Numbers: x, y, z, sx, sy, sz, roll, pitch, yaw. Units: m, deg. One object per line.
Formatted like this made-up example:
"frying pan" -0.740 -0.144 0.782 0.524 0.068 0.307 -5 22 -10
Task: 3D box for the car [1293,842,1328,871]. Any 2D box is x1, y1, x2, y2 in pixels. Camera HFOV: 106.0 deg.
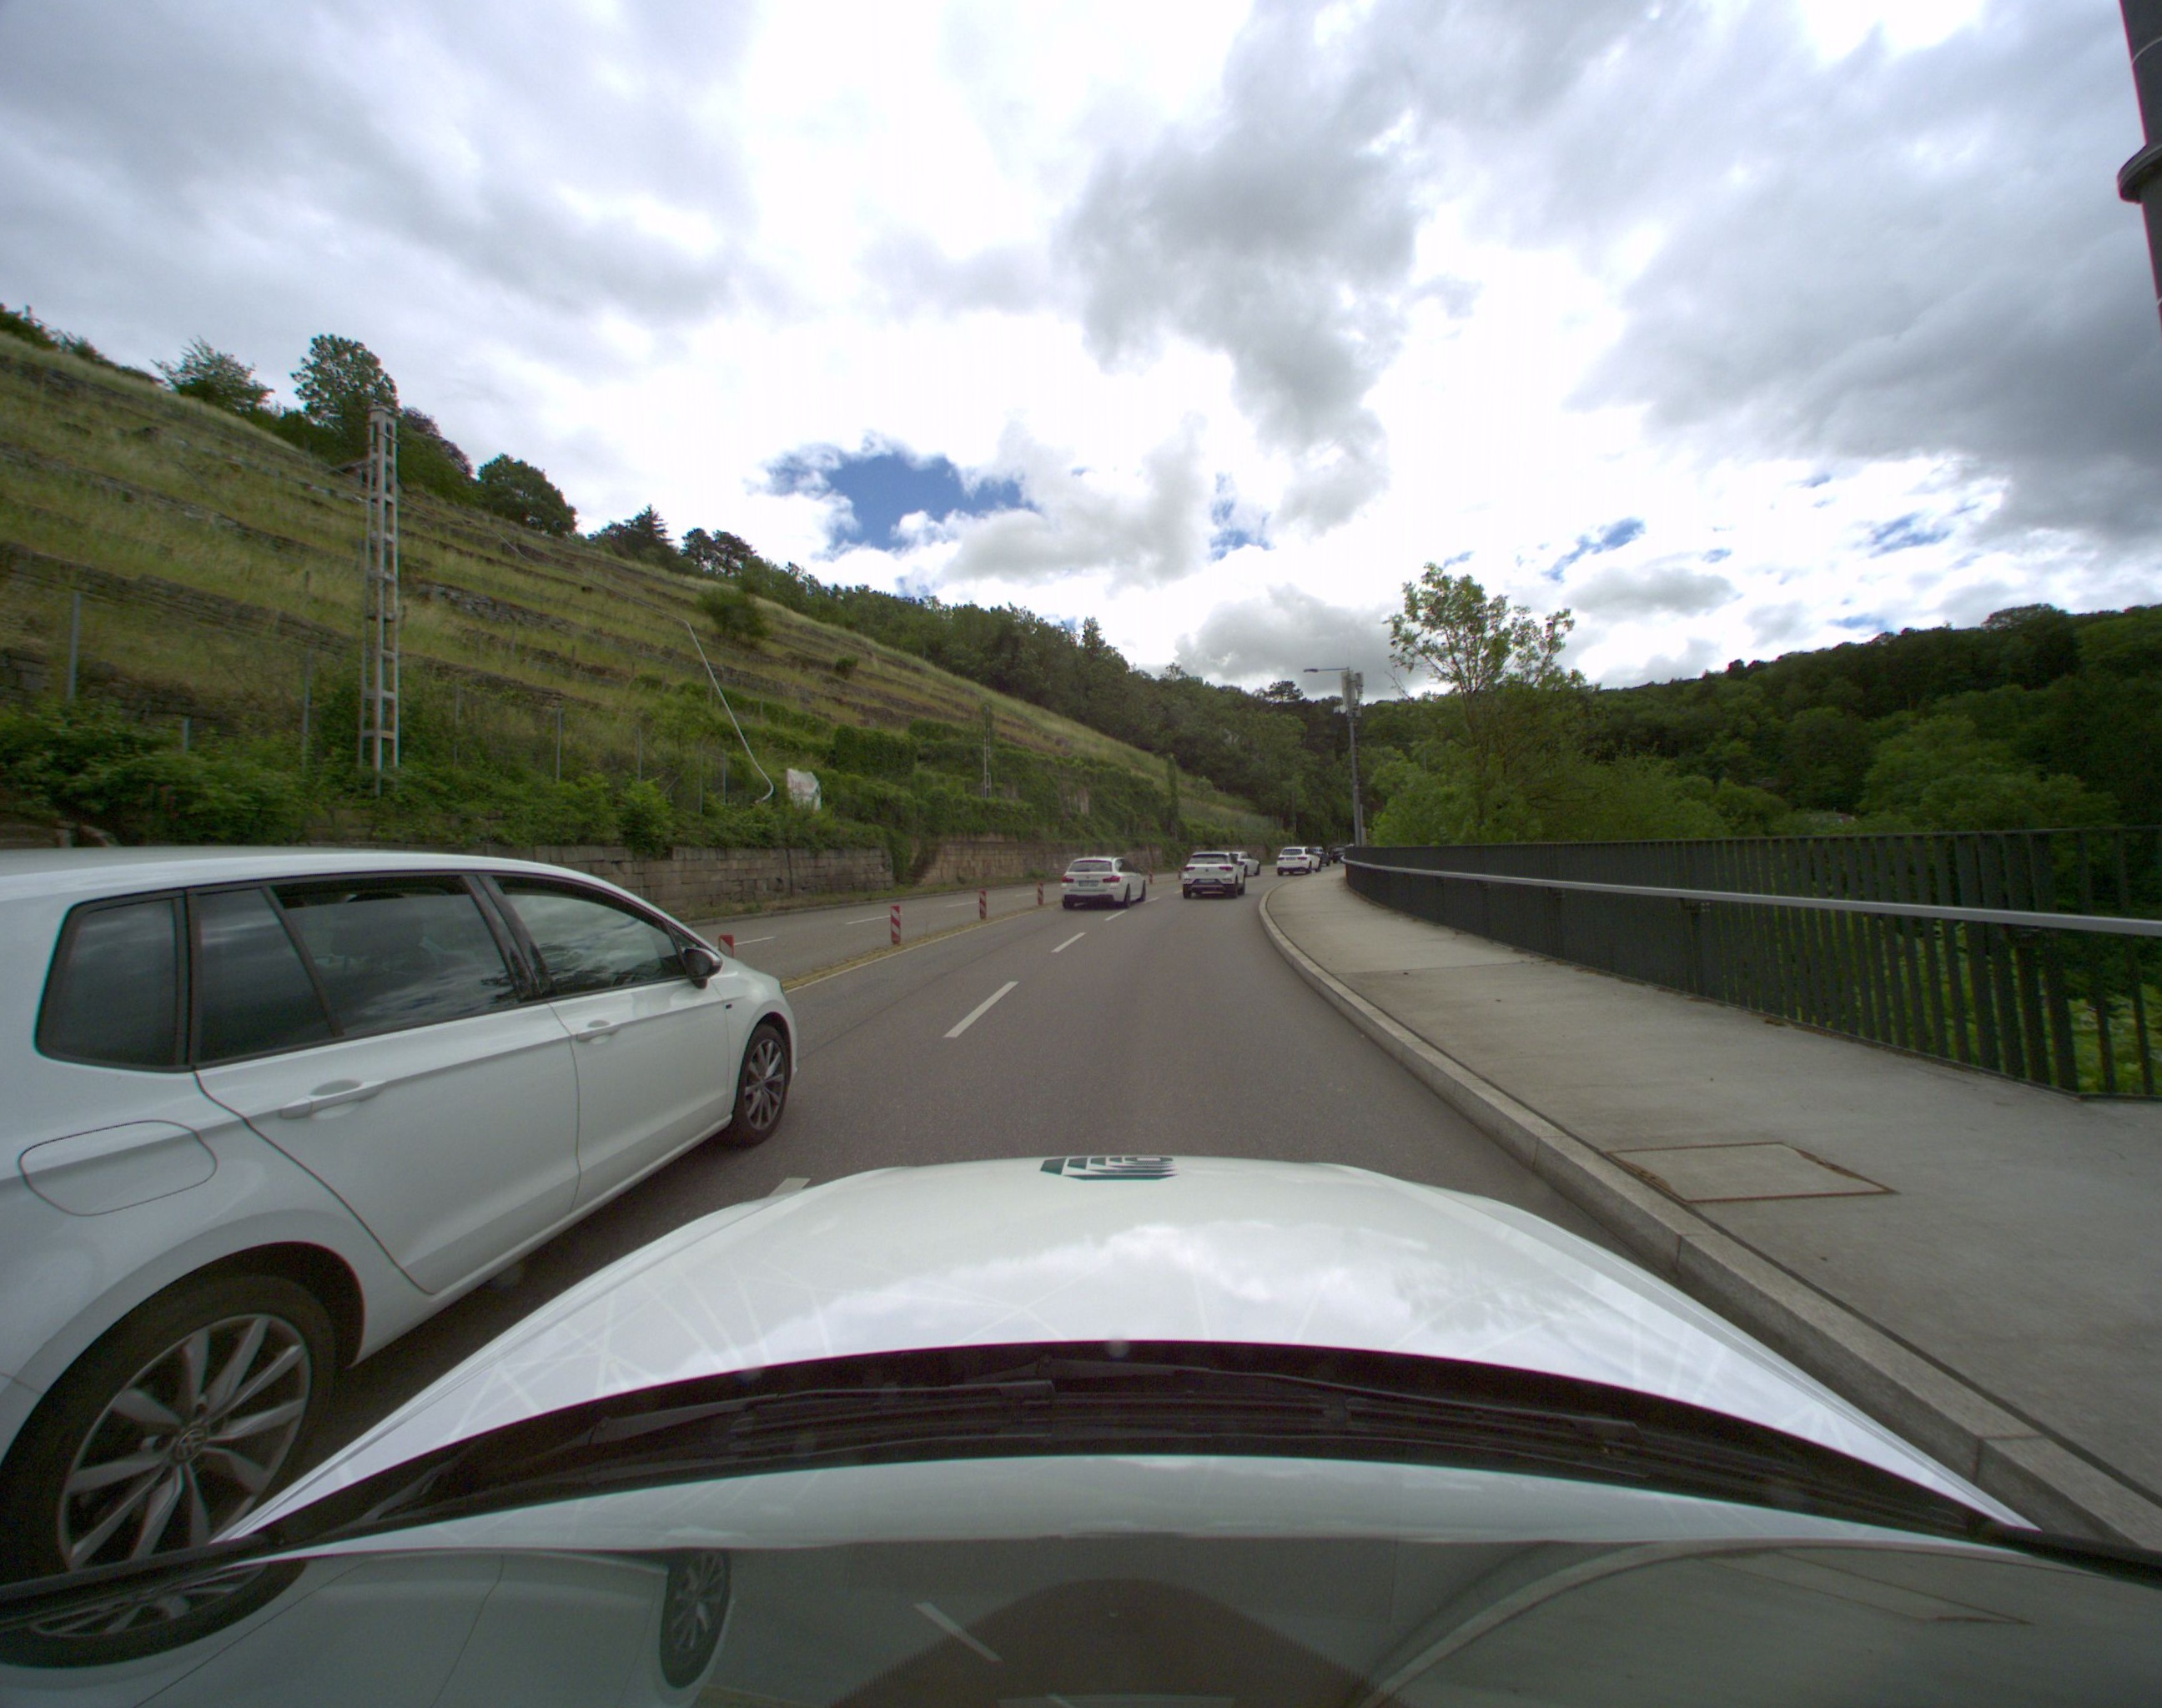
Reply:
"car" 17.991 0.190 63.715 1.976 2.014 4.022 -5 -2 23

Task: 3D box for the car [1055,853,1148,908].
"car" 0.721 0.737 24.041 1.815 1.460 4.502 0 -1 14

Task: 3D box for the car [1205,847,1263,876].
"car" 8.859 0.398 46.869 1.975 1.503 4.695 -5 -2 26

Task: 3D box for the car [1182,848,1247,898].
"car" 4.667 0.603 28.109 1.814 1.605 4.016 -1 0 14

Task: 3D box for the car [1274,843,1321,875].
"car" 12.631 0.268 47.375 1.975 1.718 4.137 -1 0 24

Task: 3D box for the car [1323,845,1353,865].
"car" 23.269 0.103 73.705 1.975 1.717 4.023 -1 0 26

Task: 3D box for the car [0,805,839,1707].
"car" -2.564 0.726 3.118 1.814 1.580 4.358 -1 0 2

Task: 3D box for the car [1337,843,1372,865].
"car" 21.886 -0.018 65.149 1.975 1.717 4.024 -2 0 28
